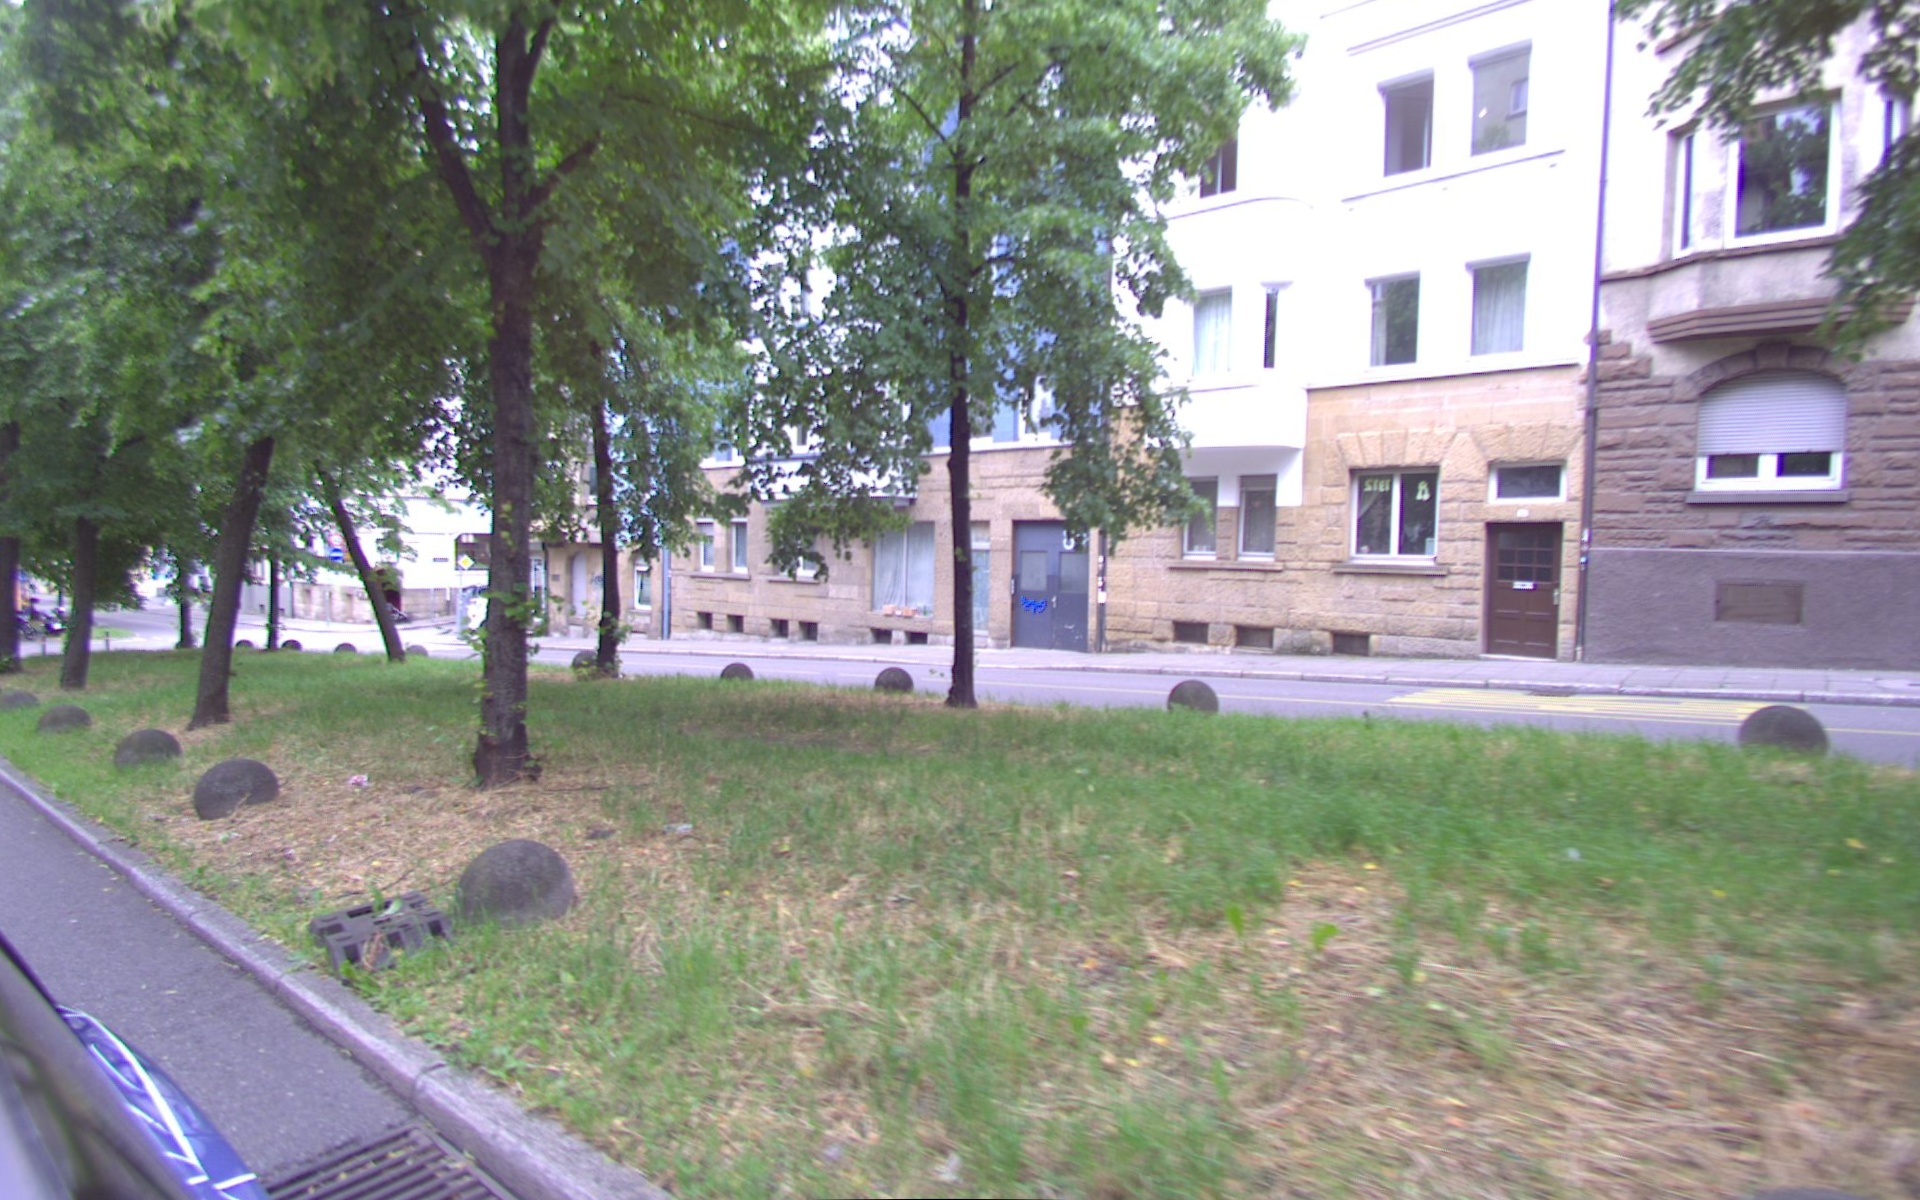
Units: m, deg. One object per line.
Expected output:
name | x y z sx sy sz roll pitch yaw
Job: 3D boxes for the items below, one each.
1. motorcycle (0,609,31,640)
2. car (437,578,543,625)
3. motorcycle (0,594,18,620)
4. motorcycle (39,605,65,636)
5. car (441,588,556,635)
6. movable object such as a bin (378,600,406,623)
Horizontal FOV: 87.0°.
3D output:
motorcycle | -35.846 0.926 37.754 0.551 1.104 1.712 3 4 44
car | -22.045 0.020 47.571 1.871 1.711 3.958 1 7 41
motorcycle | -56.338 0.401 58.729 0.963 1.494 2.393 4 3 41
motorcycle | -36.079 0.798 40.208 0.740 1.081 1.853 -2 4 -42
car | -19.578 0.446 43.042 1.869 1.480 3.961 3 7 38
movable object such as a bin | -26.156 0.520 46.609 0.667 1.000 0.877 1 4 39
